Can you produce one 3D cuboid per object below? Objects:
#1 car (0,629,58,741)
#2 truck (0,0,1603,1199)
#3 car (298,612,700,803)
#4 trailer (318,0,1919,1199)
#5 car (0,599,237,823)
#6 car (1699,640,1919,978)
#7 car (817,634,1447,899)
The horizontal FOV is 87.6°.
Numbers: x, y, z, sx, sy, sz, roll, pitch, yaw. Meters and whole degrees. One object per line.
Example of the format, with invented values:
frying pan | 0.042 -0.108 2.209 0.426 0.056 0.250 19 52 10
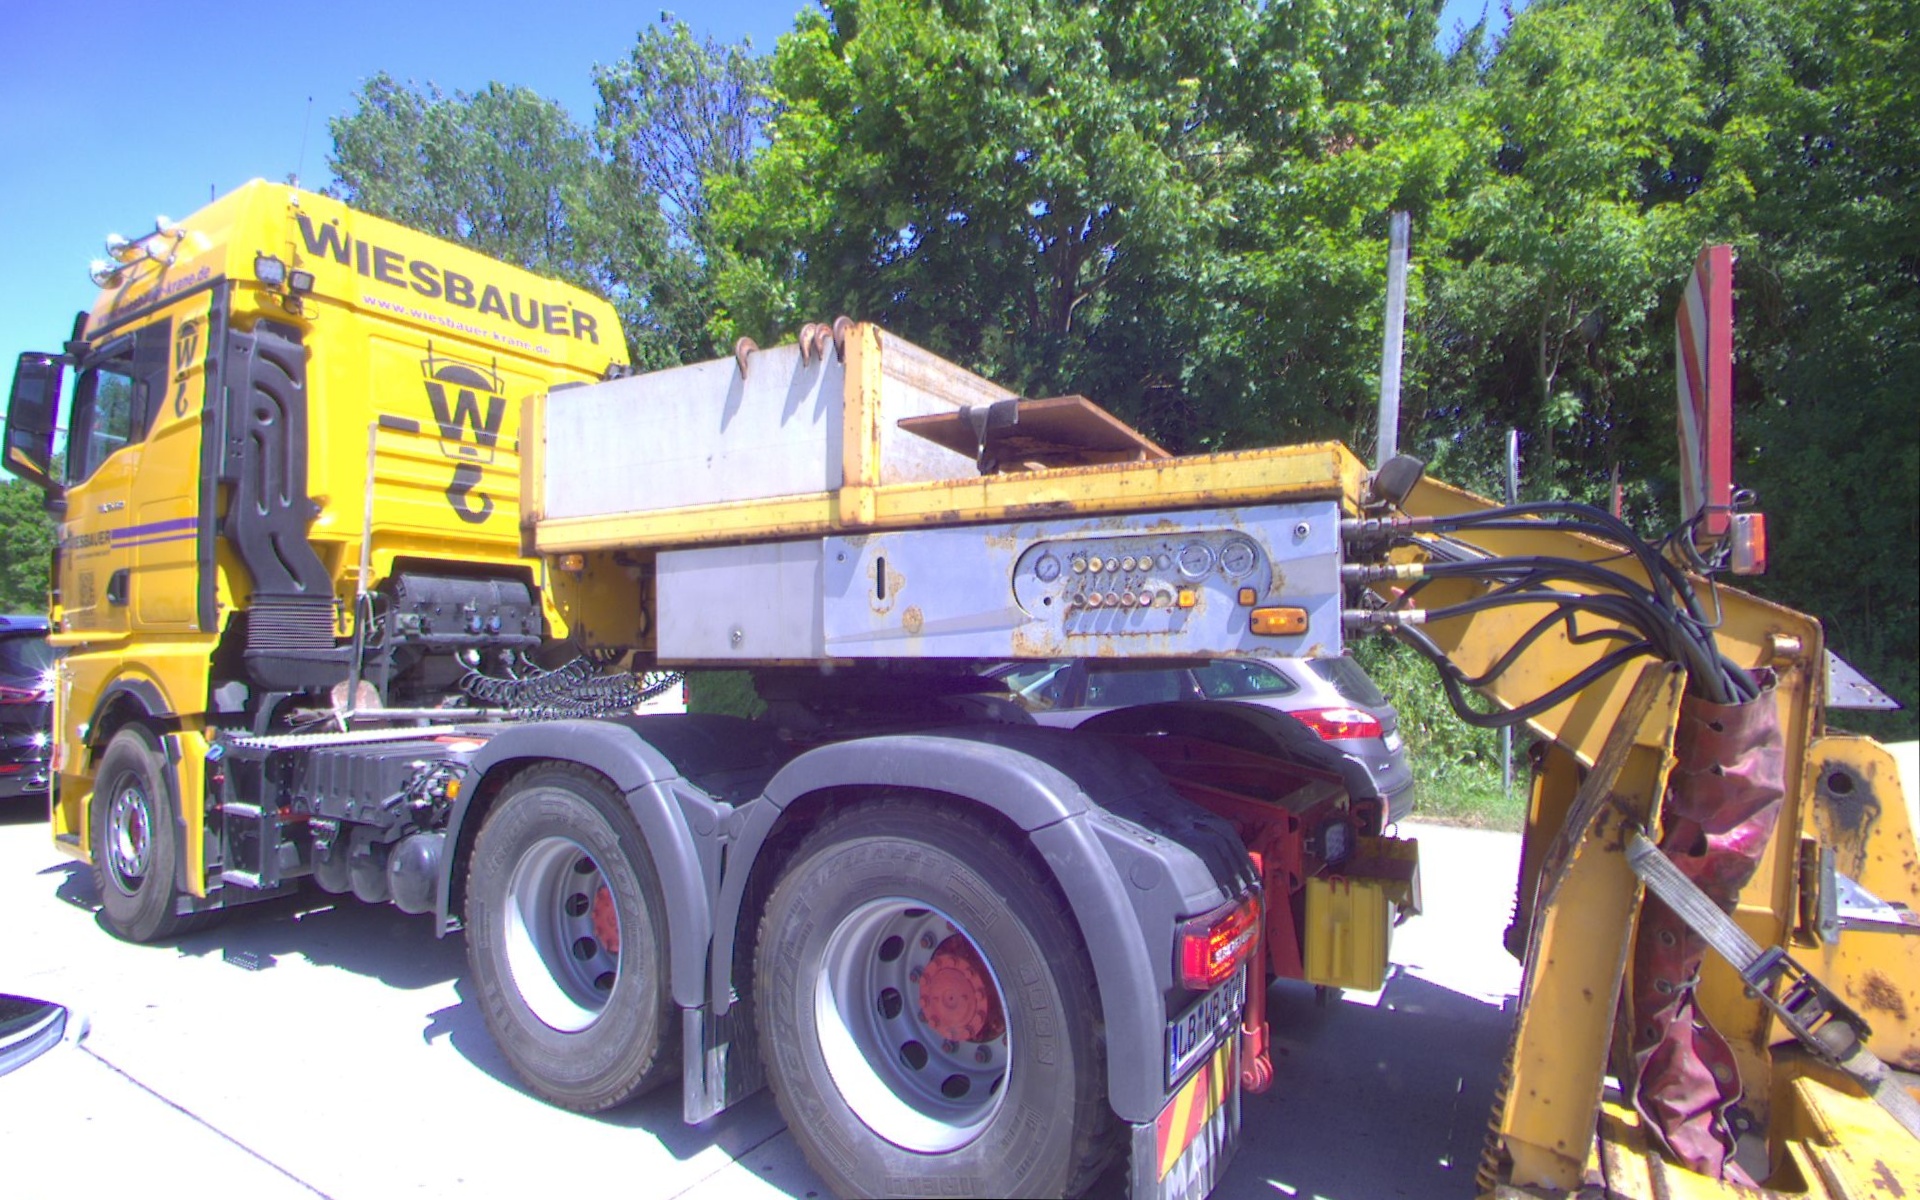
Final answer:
car | -14.196 1.120 13.736 4.548 1.428 1.763 -2 -2 35
truck | -1.395 -0.327 4.771 7.361 3.821 3.010 -1 -2 31
car | -5.379 1.102 11.528 4.720 1.830 1.766 -1 -2 29
trailer | 5.420 0.201 0.618 16.117 2.626 3.023 -1 -2 31
car | -8.662 0.893 9.259 4.584 1.660 1.779 -1 -2 35
car | 6.144 0.928 4.339 4.530 1.481 1.766 -1 -2 30
car | 1.173 1.001 7.468 4.300 1.481 1.765 -1 -2 31
